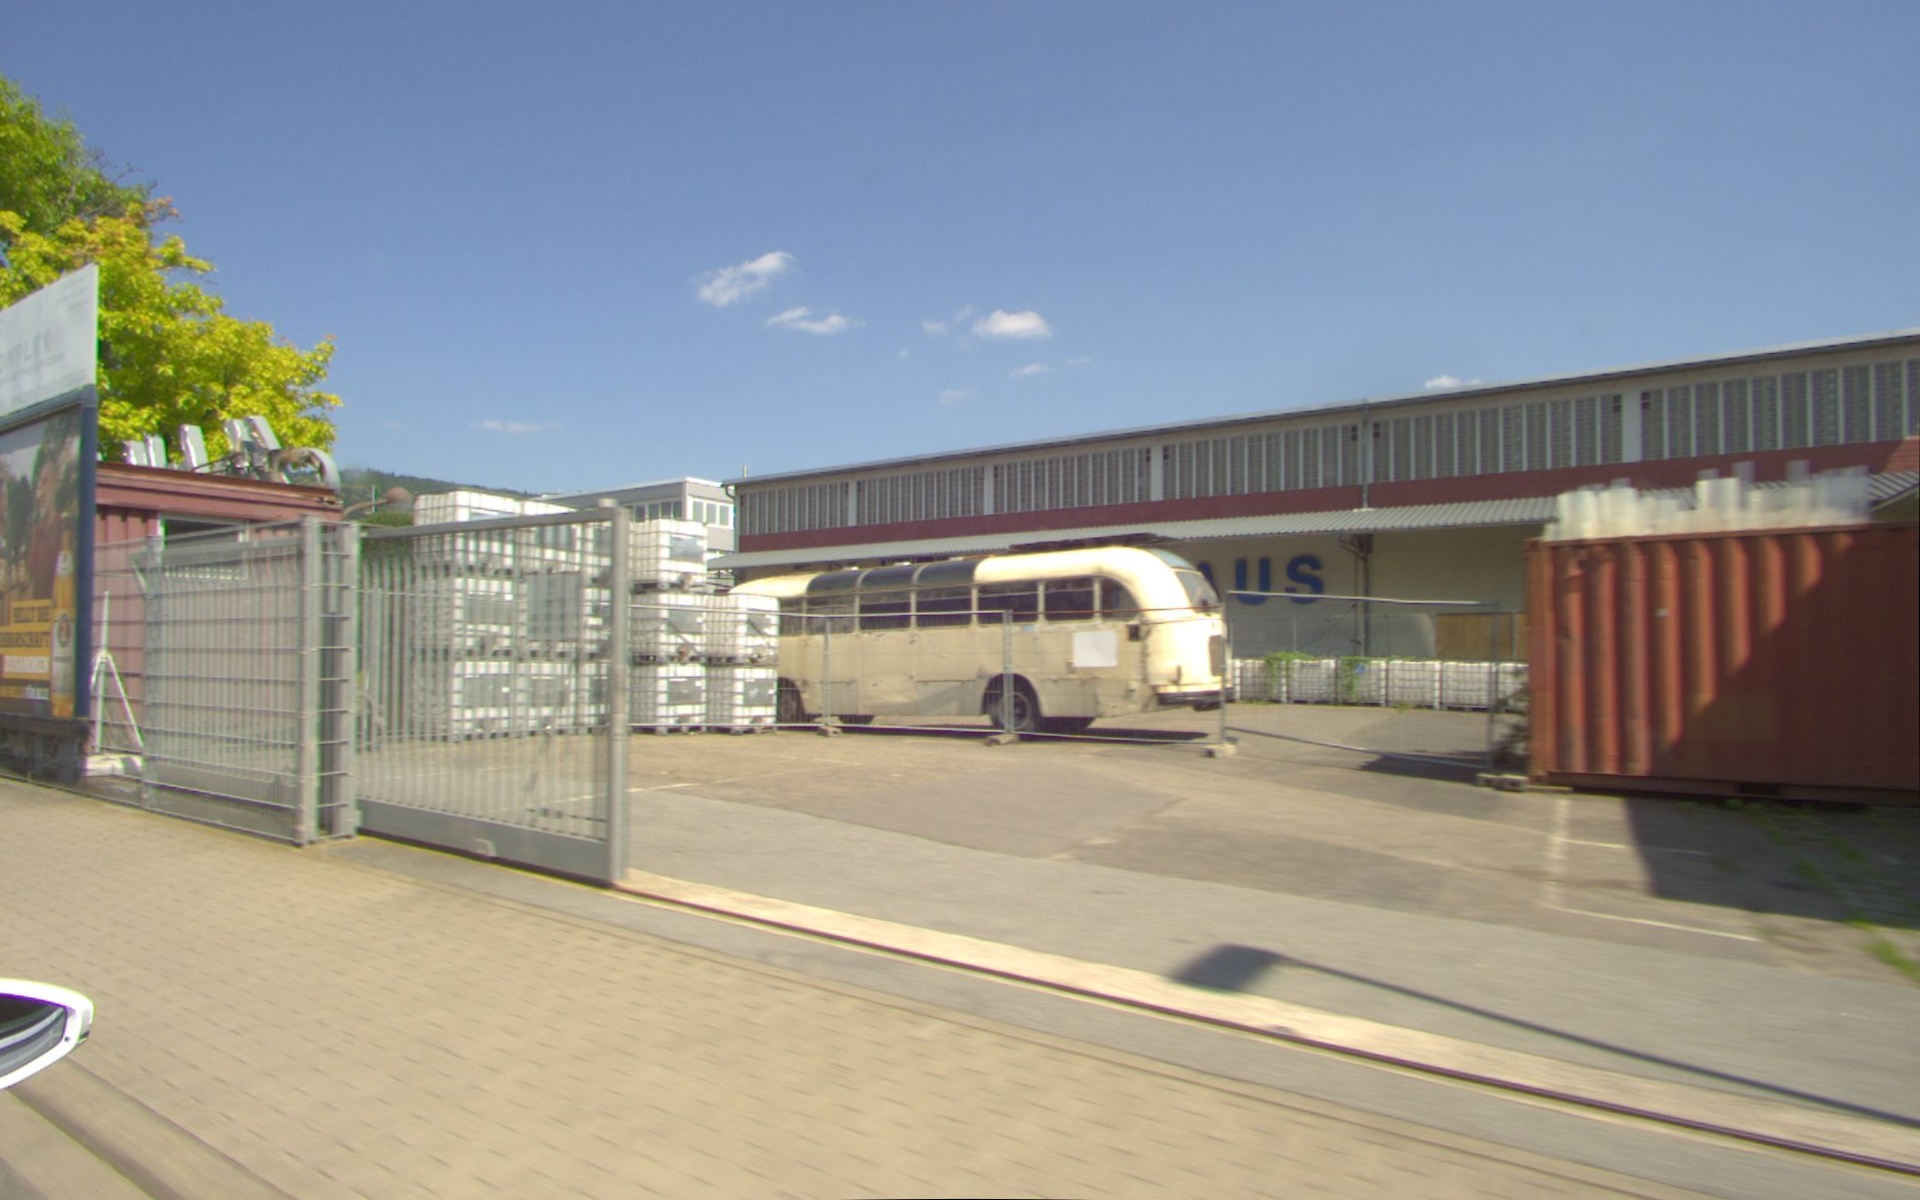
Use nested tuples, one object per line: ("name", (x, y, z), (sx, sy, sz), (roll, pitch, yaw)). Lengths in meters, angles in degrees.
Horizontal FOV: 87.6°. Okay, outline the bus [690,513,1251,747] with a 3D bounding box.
("bus", (-0.313, 0.690, 17.635), (10.129, 3.210, 2.561), (-3, -4, 34))
